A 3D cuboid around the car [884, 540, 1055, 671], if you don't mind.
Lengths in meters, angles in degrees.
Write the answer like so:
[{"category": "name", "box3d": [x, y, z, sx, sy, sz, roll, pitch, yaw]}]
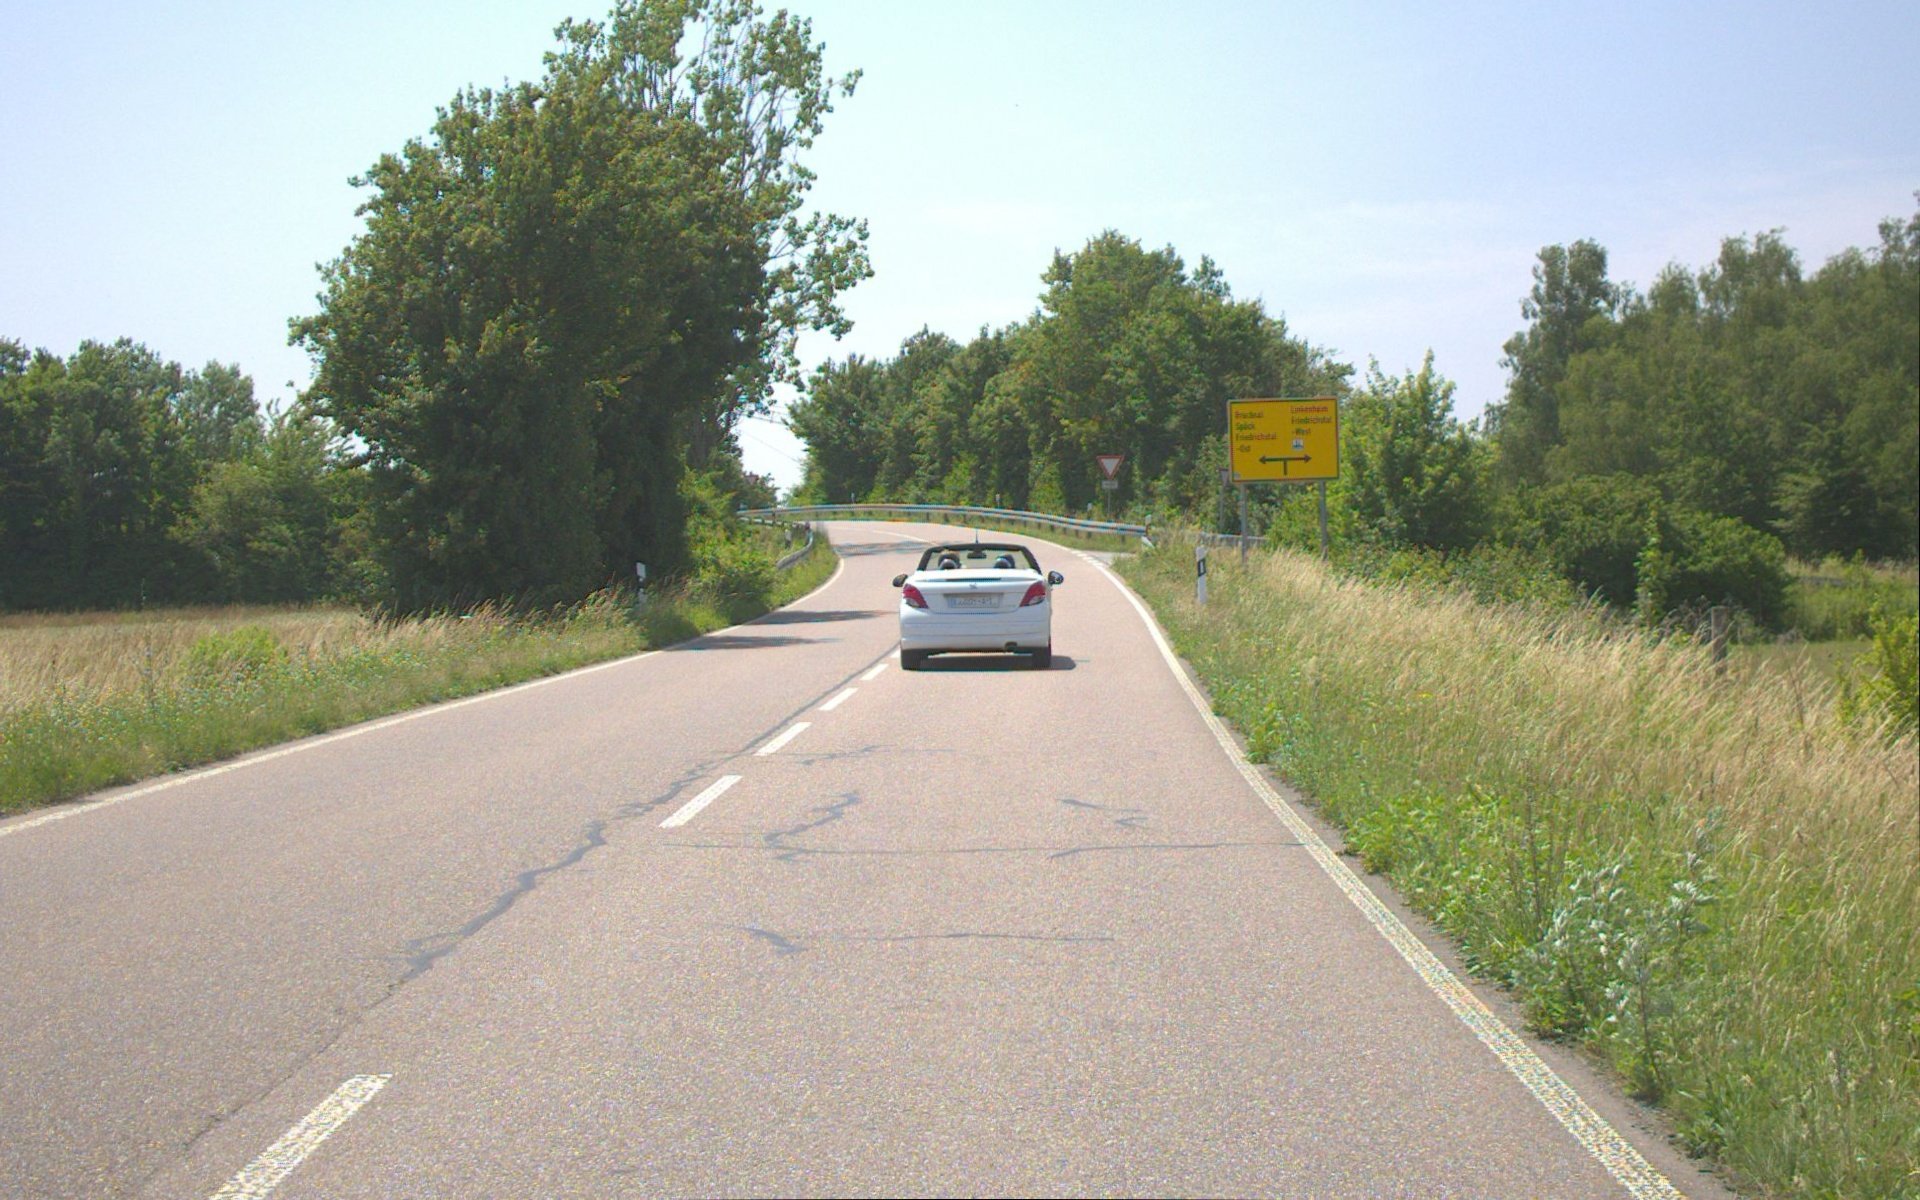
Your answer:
[{"category": "car", "box3d": [0.107, 0.021, 39.583, 1.851, 1.374, 4.000, -1, 1, 0]}]
